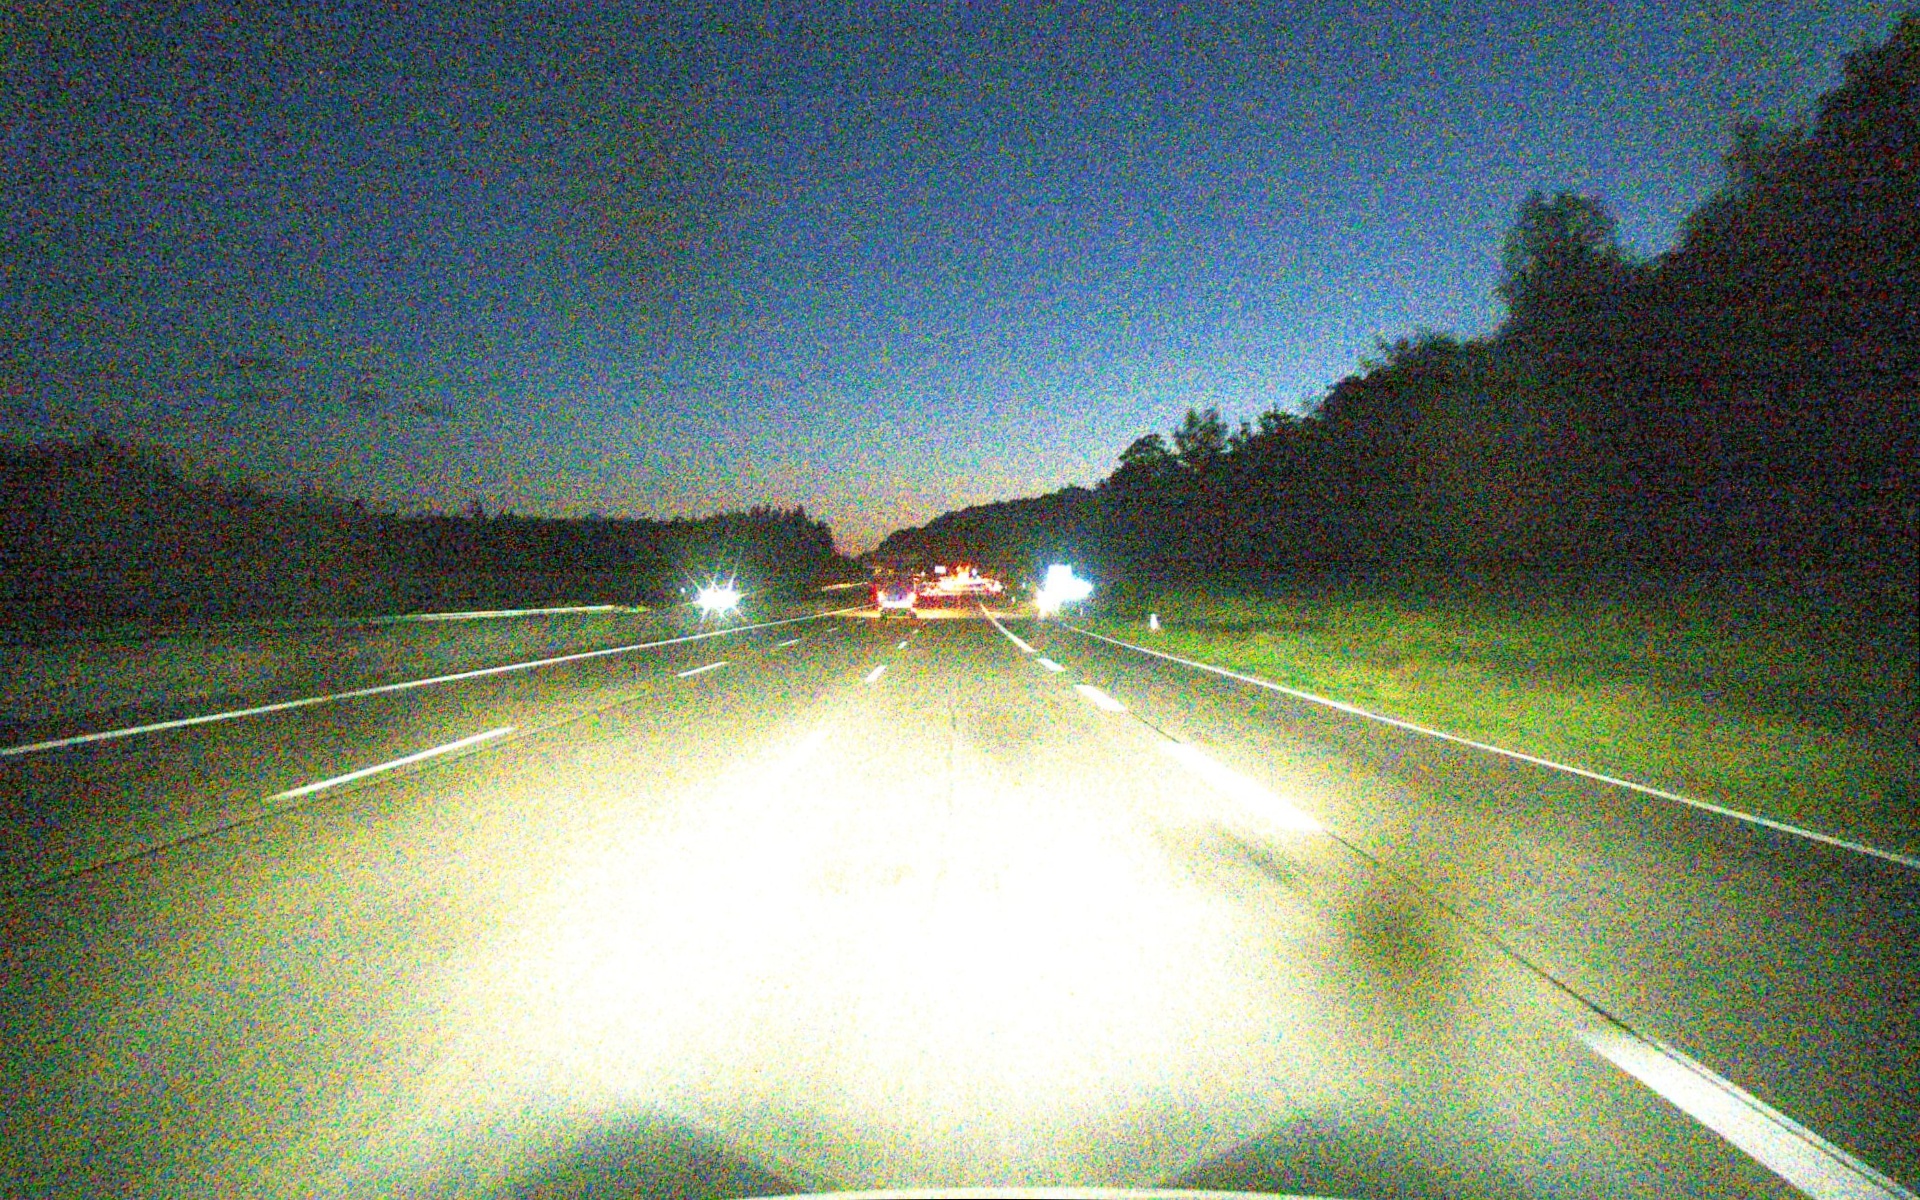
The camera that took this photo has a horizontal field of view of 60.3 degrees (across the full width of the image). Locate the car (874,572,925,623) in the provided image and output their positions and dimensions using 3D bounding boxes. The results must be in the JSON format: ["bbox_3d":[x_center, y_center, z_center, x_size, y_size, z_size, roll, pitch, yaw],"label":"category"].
[{"bbox_3d":[-3.449,-0.091,95.329,2.730,2.781,6.297,0,-1,-1],"label":"car"}]

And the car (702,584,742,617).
[{"bbox_3d":[-22.230,0.033,154.928,2.788,2.989,6.600,1,0,-1],"label":"car"}]

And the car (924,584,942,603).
[{"bbox_3d":[-4.168,-1.031,257.089,2.730,2.781,6.296,0,-1,-1],"label":"car"}]
